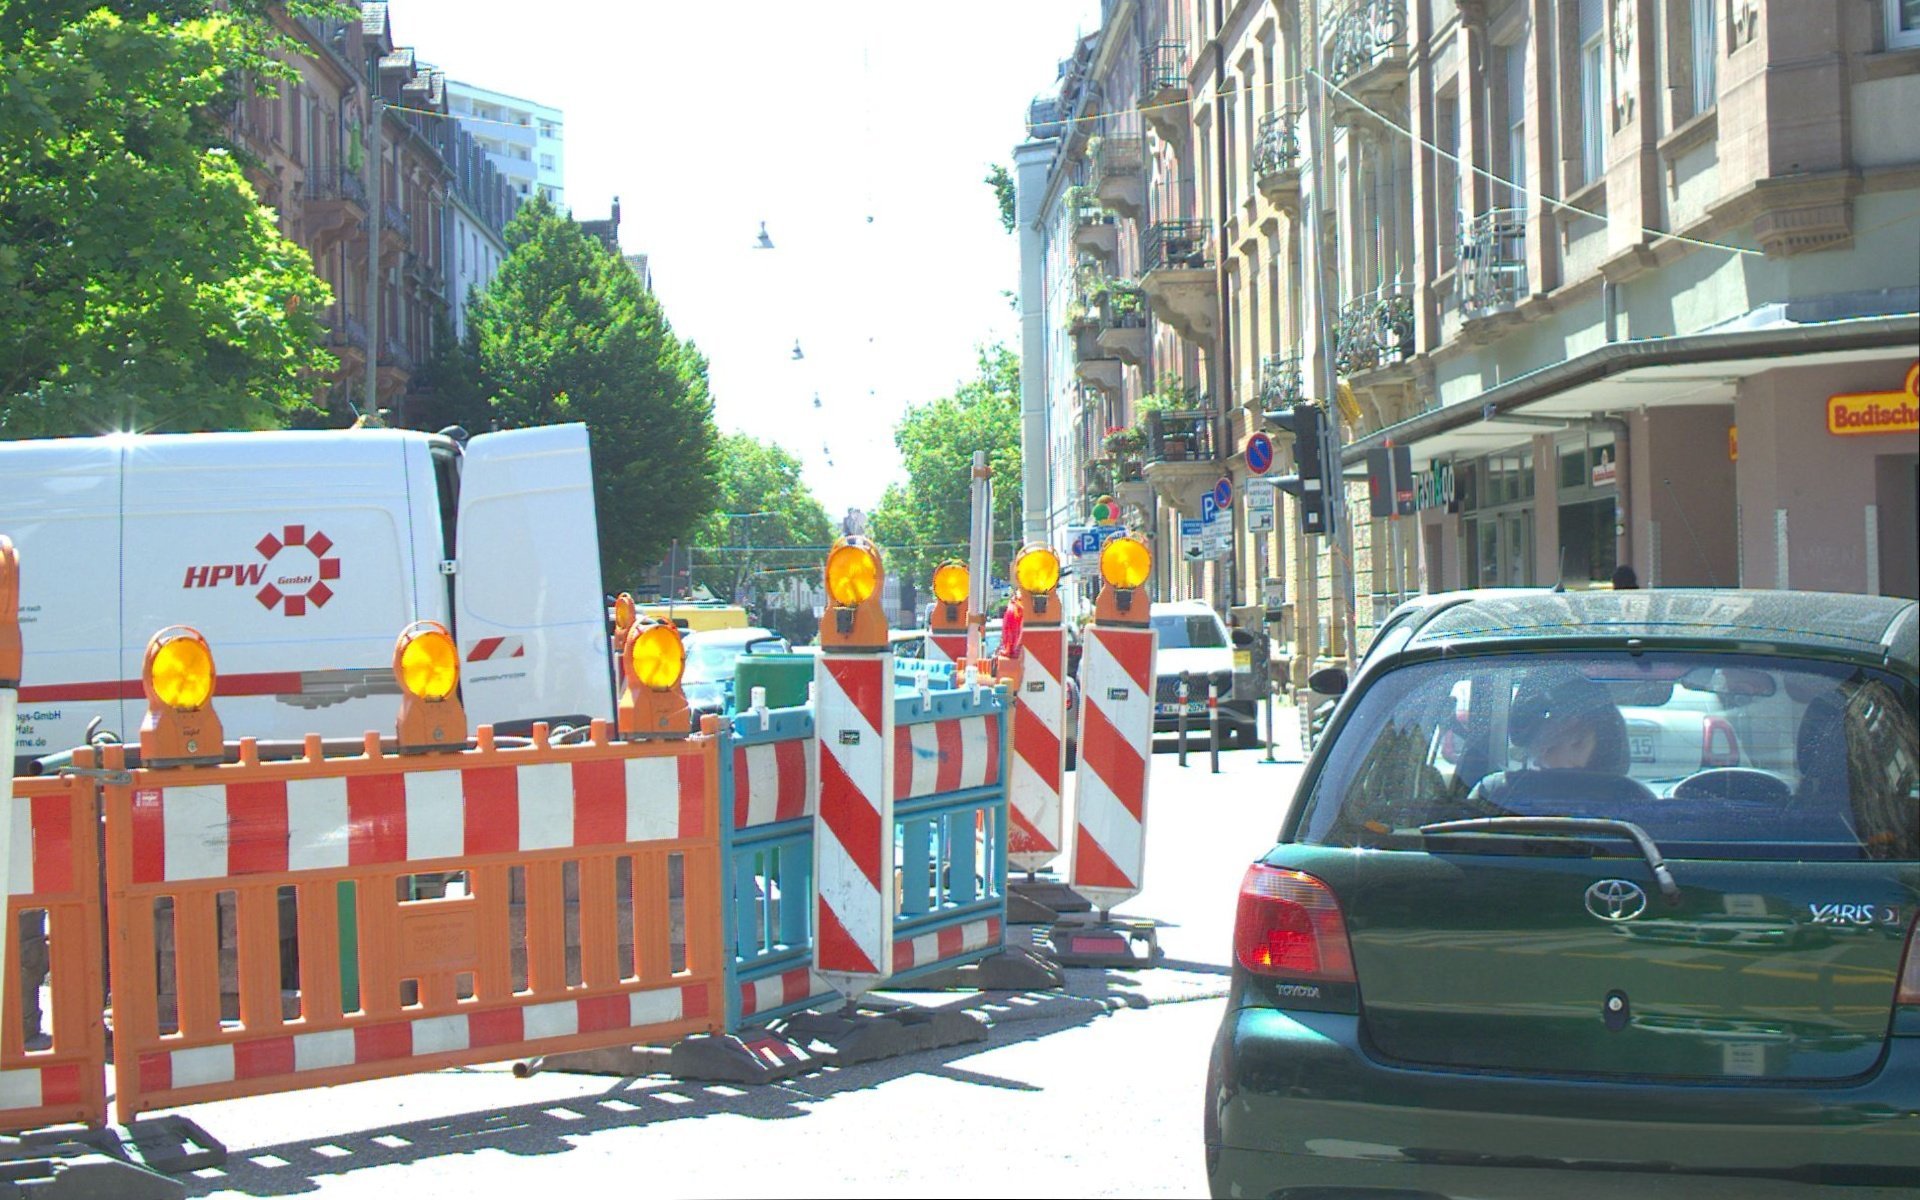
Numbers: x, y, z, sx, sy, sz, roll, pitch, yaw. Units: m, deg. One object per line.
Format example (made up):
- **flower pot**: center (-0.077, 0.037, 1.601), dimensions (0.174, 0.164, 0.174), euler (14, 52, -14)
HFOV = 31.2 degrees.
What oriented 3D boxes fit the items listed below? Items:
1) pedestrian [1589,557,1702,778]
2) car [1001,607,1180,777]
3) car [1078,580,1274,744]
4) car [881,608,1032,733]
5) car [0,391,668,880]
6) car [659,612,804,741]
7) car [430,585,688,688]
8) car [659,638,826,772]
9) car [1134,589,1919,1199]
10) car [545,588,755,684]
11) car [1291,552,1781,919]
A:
- **pedestrian**: center (5.136, 0.496, 25.795), dimensions (0.641, 1.618, 0.804), euler (-1, 0, -1)
- **car**: center (1.273, 0.883, 34.641), dimensions (1.522, 1.587, 3.264), euler (-1, 0, -2)
- **car**: center (2.461, 0.696, 40.141), dimensions (1.871, 1.707, 4.504), euler (-3, 0, -1)
- **car**: center (-0.094, 0.993, 49.843), dimensions (1.993, 1.612, 4.000), euler (-4, 0, -2)
- **car**: center (-5.179, 0.195, 20.686), dimensions (6.621, 2.742, 2.380), euler (0, 0, 0)
- **car**: center (-3.205, 1.053, 48.915), dimensions (1.754, 1.639, 4.377), euler (-4, 0, -1)
- **car**: center (-8.173, 0.731, 70.090), dimensions (4.773, 1.987, 2.053), euler (-1, 0, -30)
- **car**: center (-2.520, 1.202, 40.651), dimensions (1.754, 1.439, 4.000), euler (-2, 0, -1)
- **car**: center (1.615, 0.727, 7.482), dimensions (1.615, 1.480, 3.237), euler (0, 0, 19)
- **car**: center (-7.425, 0.850, 82.415), dimensions (4.557, 2.180, 2.000), euler (-1, 0, -28)
- **car**: center (2.601, 0.570, 16.188), dimensions (1.522, 1.516, 3.264), euler (-1, 0, -4)
